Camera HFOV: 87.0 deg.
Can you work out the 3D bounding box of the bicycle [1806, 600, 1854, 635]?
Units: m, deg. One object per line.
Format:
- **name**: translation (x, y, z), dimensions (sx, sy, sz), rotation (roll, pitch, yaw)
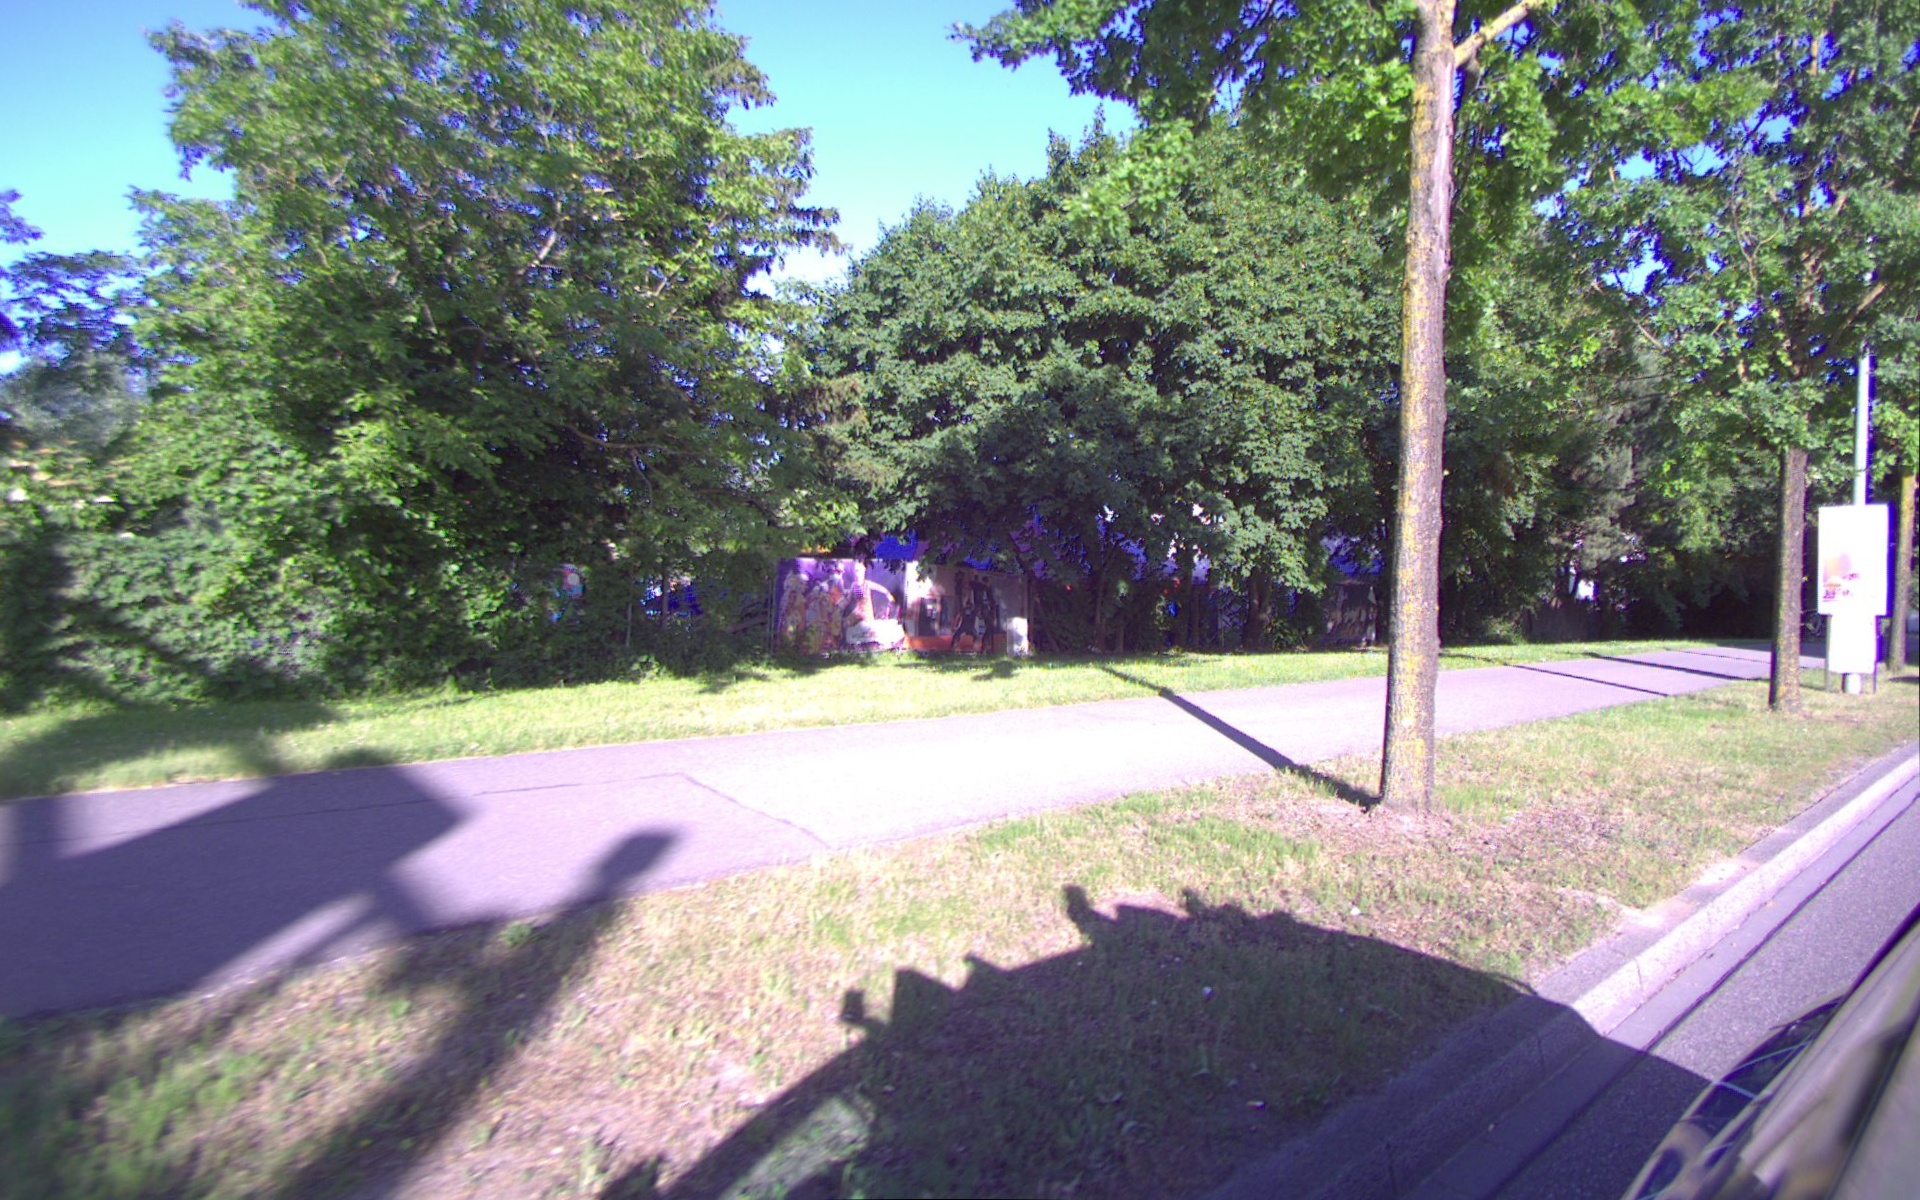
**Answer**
- **bicycle**: translation (29.951, 0.592, 34.835), dimensions (1.675, 1.145, 0.777), rotation (1, 1, -33)
